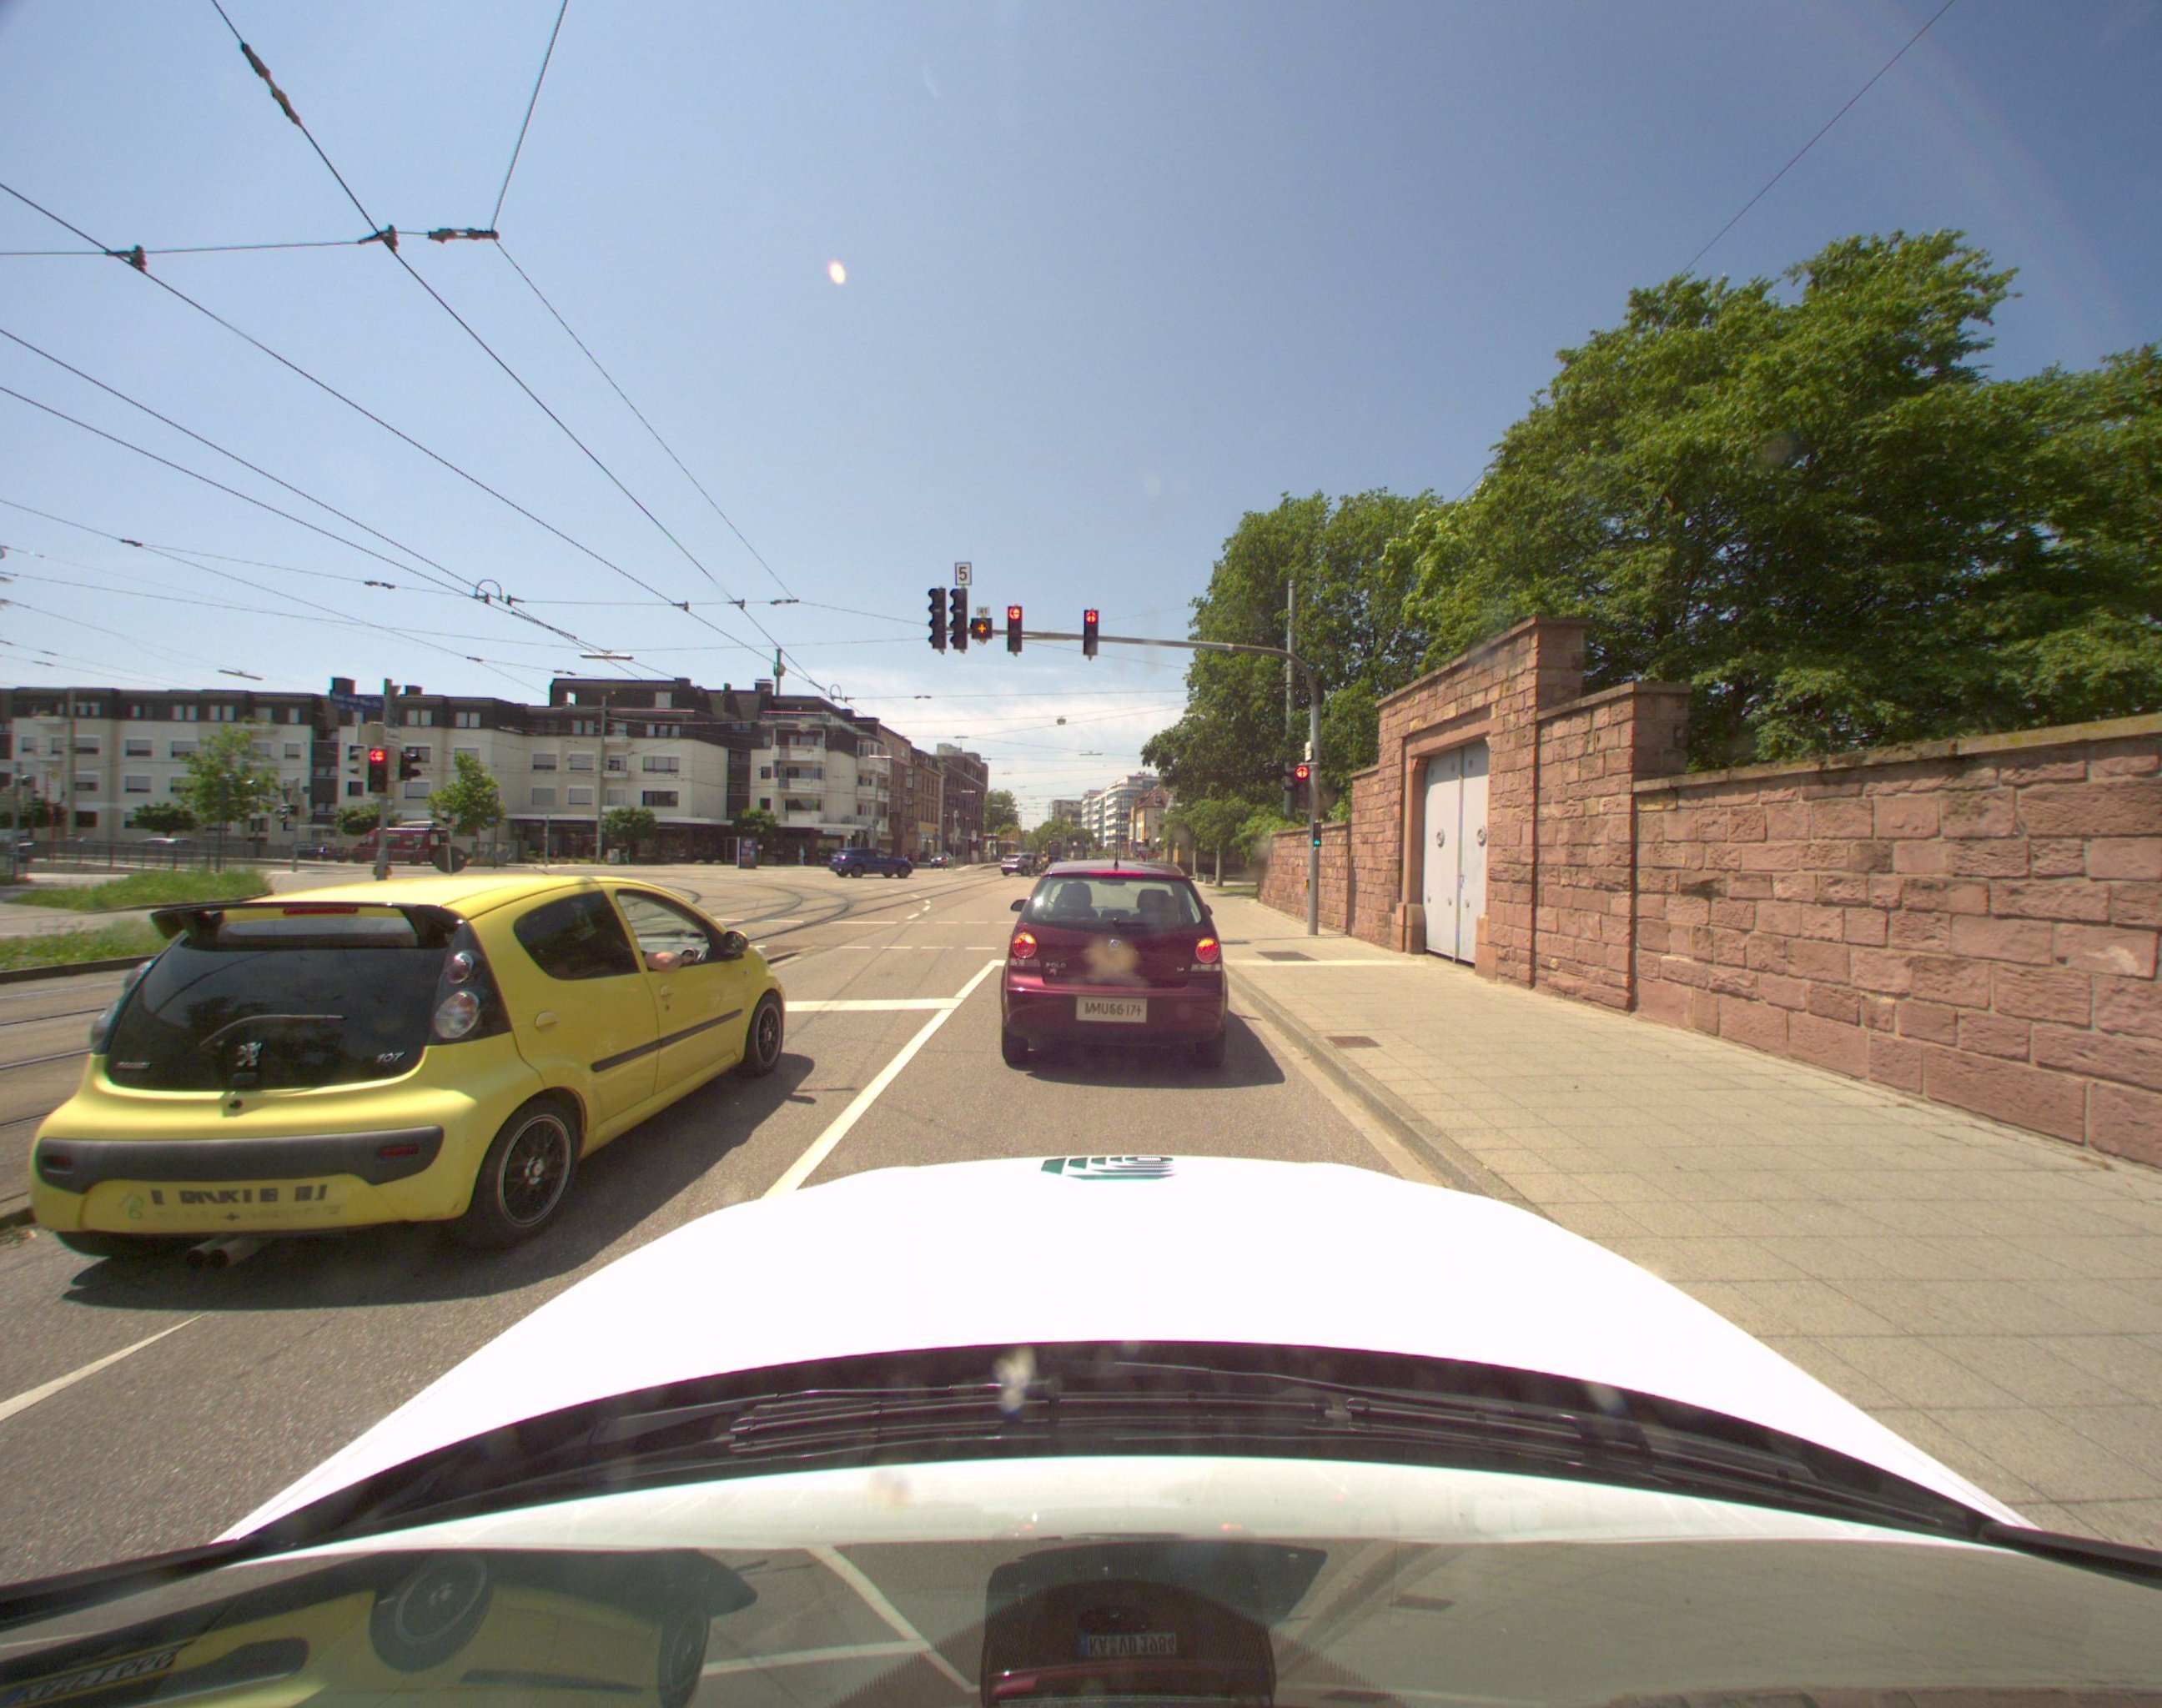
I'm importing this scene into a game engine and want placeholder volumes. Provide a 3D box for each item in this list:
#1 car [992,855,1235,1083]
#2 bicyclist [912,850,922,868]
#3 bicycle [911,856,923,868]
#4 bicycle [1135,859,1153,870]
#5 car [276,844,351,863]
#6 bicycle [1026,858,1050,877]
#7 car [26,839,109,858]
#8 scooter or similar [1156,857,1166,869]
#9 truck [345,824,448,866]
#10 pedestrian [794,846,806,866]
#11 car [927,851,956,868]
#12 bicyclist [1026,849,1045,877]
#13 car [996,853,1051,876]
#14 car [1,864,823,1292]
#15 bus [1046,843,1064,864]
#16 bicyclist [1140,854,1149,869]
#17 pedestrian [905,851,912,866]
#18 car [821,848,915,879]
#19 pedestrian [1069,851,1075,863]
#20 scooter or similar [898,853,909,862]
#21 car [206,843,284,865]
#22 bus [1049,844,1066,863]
[{"bbox_3d":[0.237,0.749,6.823,1.556,1.453,3.062,1,0,1],"label":"car"},{"bbox_3d":[-16.403,0.472,81.489,0.692,1.765,1.137,1,1,1],"label":"bicyclist"},{"bbox_3d":[-16.404,0.771,81.540,0.692,1.149,1.932,1,1,1],"label":"bicycle"},{"bbox_3d":[6.678,1.108,86.709,1.851,1.002,0.670,-2,1,0],"label":"bicycle"},{"bbox_3d":[-51.365,-0.033,54.525,3.556,1.219,1.591,1,0,2],"label":"car"},{"bbox_3d":[-2.744,0.874,52.368,0.372,1.197,1.917,1,0,37],"label":"bicycle"},{"bbox_3d":[-67.738,-0.349,54.469,3.556,1.240,1.591,1,0,2],"label":"car"},{"bbox_3d":[8.195,0.921,83.678,0.340,1.178,1.457,1,0,-22],"label":"scooter or similar"},{"bbox_3d":[-45.564,-0.597,54.305,5.007,2.698,2.188,1,0,1],"label":"truck"},{"bbox_3d":[-23.902,0.157,69.221,0.804,1.696,0.700,1,0,-6],"label":"pedestrian"},{"bbox_3d":[-13.871,0.536,81.207,1.986,1.553,4.141,1,0,2],"label":"car"},{"bbox_3d":[-2.923,0.581,52.185,0.720,1.760,0.930,1,0,36],"label":"bicyclist"},{"bbox_3d":[-3.986,0.694,57.169,1.806,1.530,4.025,1,0,32],"label":"car"},{"bbox_3d":[-2.893,0.793,4.643,1.610,1.421,3.656,-1,-1,1],"label":"car"},{"bbox_3d":[-3.899,-0.115,121.399,2.136,3.003,6.577,1,0,2],"label":"bus"},{"bbox_3d":[6.741,0.794,86.696,0.854,1.618,0.835,-2,1,0],"label":"bicyclist"},{"bbox_3d":[-18.385,0.460,86.877,0.612,1.560,0.640,1,0,1],"label":"pedestrian"},{"bbox_3d":[-11.864,0.526,45.539,4.656,1.624,1.976,1,0,-42],"label":"car"},{"bbox_3d":[-1.255,0.436,116.377,0.760,1.674,1.101,1,0,2],"label":"pedestrian"},{"bbox_3d":[-20.150,0.396,92.499,0.484,1.082,1.584,1,0,18],"label":"scooter or similar"},{"bbox_3d":[-55.803,-0.013,54.387,3.556,1.433,1.591,1,0,2],"label":"car"},{"bbox_3d":[-3.616,-0.063,127.973,2.224,3.003,6.597,1,0,2],"label":"bus"}]
